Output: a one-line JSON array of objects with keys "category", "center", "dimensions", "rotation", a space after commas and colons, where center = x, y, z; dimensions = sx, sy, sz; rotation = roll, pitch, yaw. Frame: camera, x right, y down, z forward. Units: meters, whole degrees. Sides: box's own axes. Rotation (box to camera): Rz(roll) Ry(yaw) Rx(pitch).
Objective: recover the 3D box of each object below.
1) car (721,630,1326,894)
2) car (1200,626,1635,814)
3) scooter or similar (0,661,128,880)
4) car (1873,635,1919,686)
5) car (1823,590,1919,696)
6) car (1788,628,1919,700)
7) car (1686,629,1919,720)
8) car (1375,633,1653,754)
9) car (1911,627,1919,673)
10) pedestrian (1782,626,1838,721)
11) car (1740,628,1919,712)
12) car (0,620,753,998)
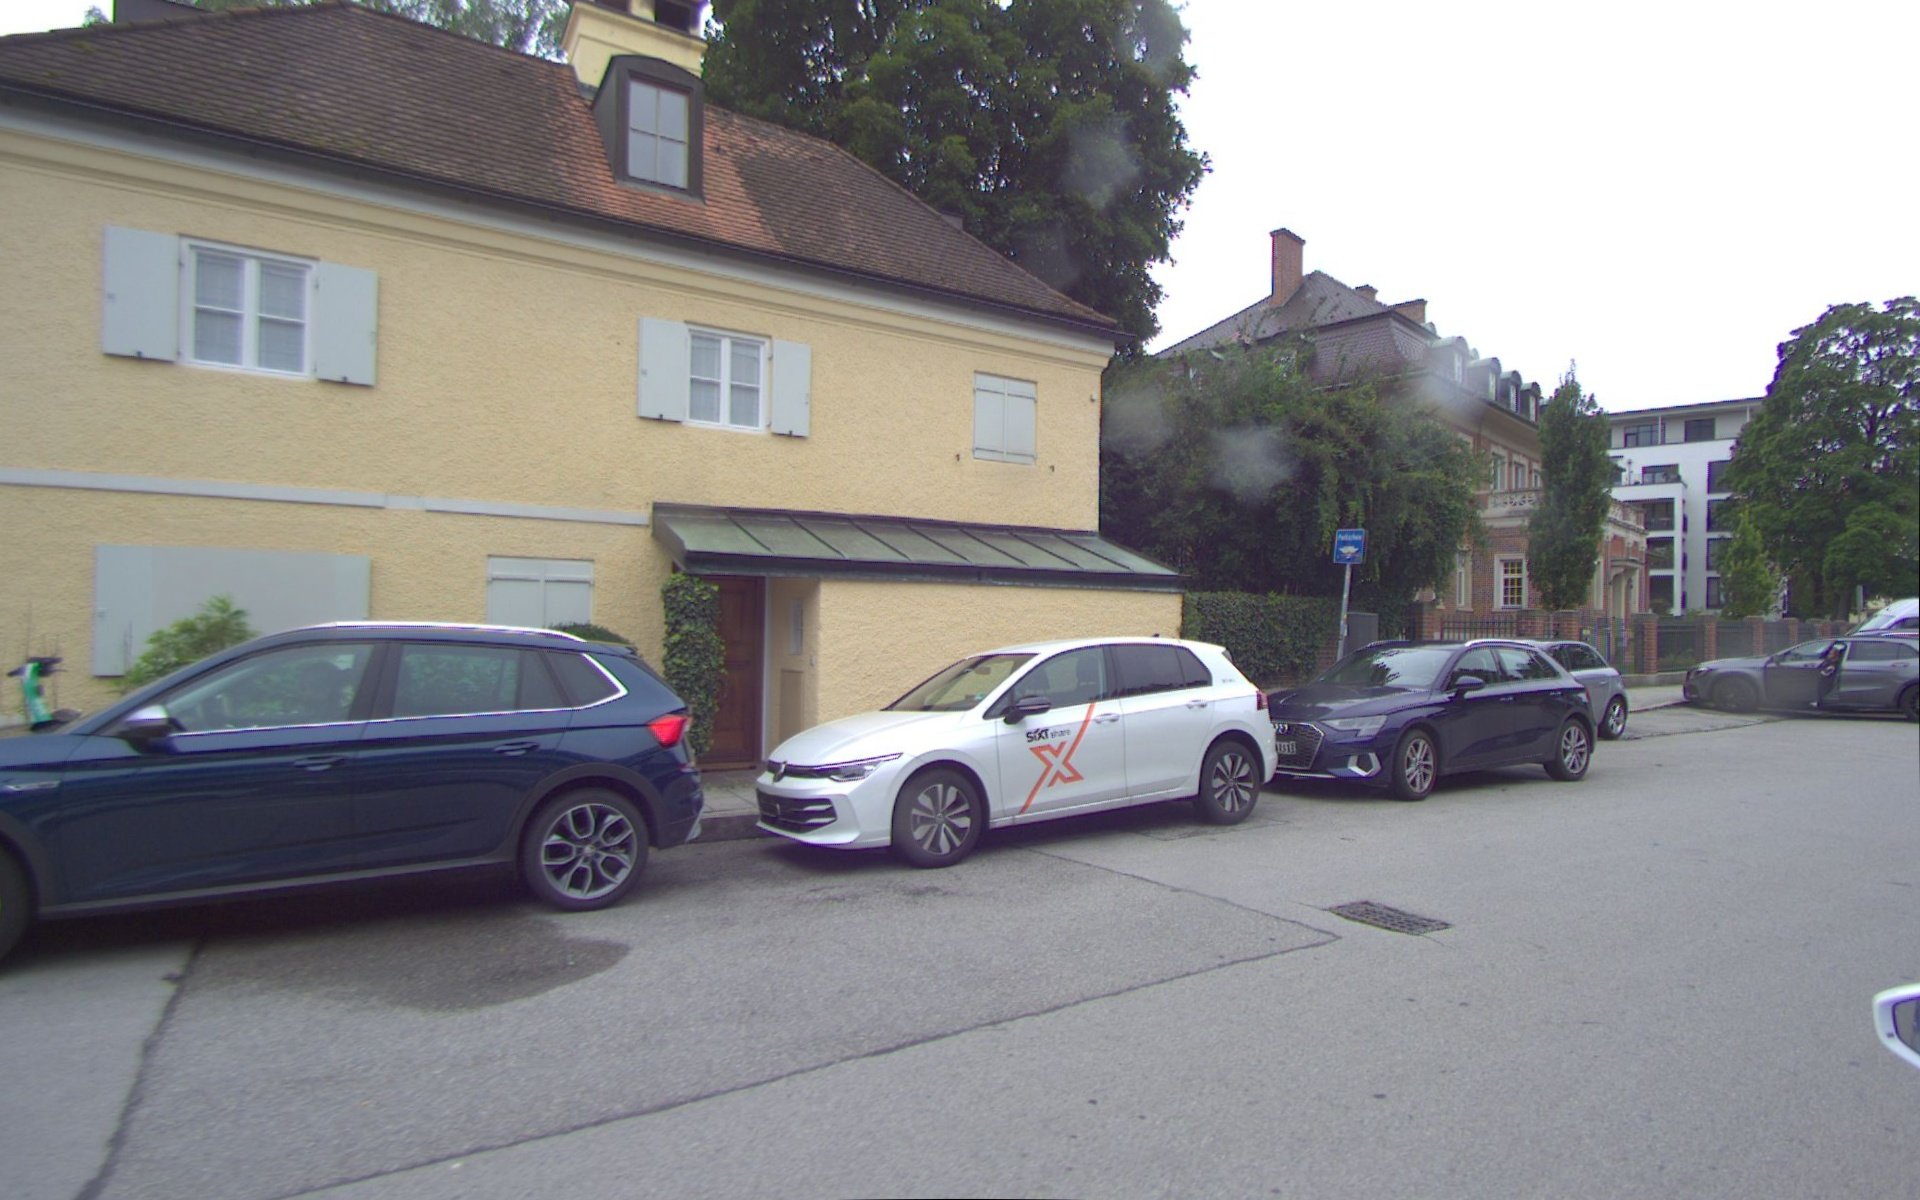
[{"category": "car", "center": [0.584, 1.042, 7.876], "dimensions": [4.467, 1.555, 1.837], "rotation": [1, -4, -30]}, {"category": "car", "center": [4.779, 1.089, 10.328], "dimensions": [4.510, 1.555, 1.836], "rotation": [1, -4, -31]}, {"category": "scooter or similar", "center": [-5.691, 0.971, 5.747], "dimensions": [1.354, 1.204, 0.450], "rotation": [1, 0, -30]}, {"category": "car", "center": [29.775, 1.736, 29.125], "dimensions": [4.440, 1.470, 1.977], "rotation": [-1, -2, 23]}, {"category": "car", "center": [25.086, 1.063, 25.349], "dimensions": [4.551, 2.597, 2.232], "rotation": [-1, -2, 27]}, {"category": "car", "center": [22.622, 1.497, 23.641], "dimensions": [4.443, 1.646, 1.965], "rotation": [-2, -4, 27]}, {"category": "car", "center": [16.427, 1.355, 18.836], "dimensions": [1.920, 1.550, 4.290], "rotation": [3, -3, -43]}, {"category": "car", "center": [8.141, 1.283, 14.687], "dimensions": [4.102, 1.555, 1.732], "rotation": [1, -4, -31]}, {"category": "car", "center": [37.294, 1.767, 35.805], "dimensions": [4.438, 1.686, 1.988], "rotation": [-1, -3, 20]}, {"category": "pedestrian", "center": [15.399, 1.320, 18.204], "dimensions": [0.708, 1.669, 0.585], "rotation": [2, -3, -37]}, {"category": "car", "center": [18.768, 1.388, 20.247], "dimensions": [4.444, 1.614, 1.963], "rotation": [-2, -3, 27]}, {"category": "car", "center": [-3.537, 0.945, 5.487], "dimensions": [4.388, 1.555, 1.837], "rotation": [2, -4, -30]}]
